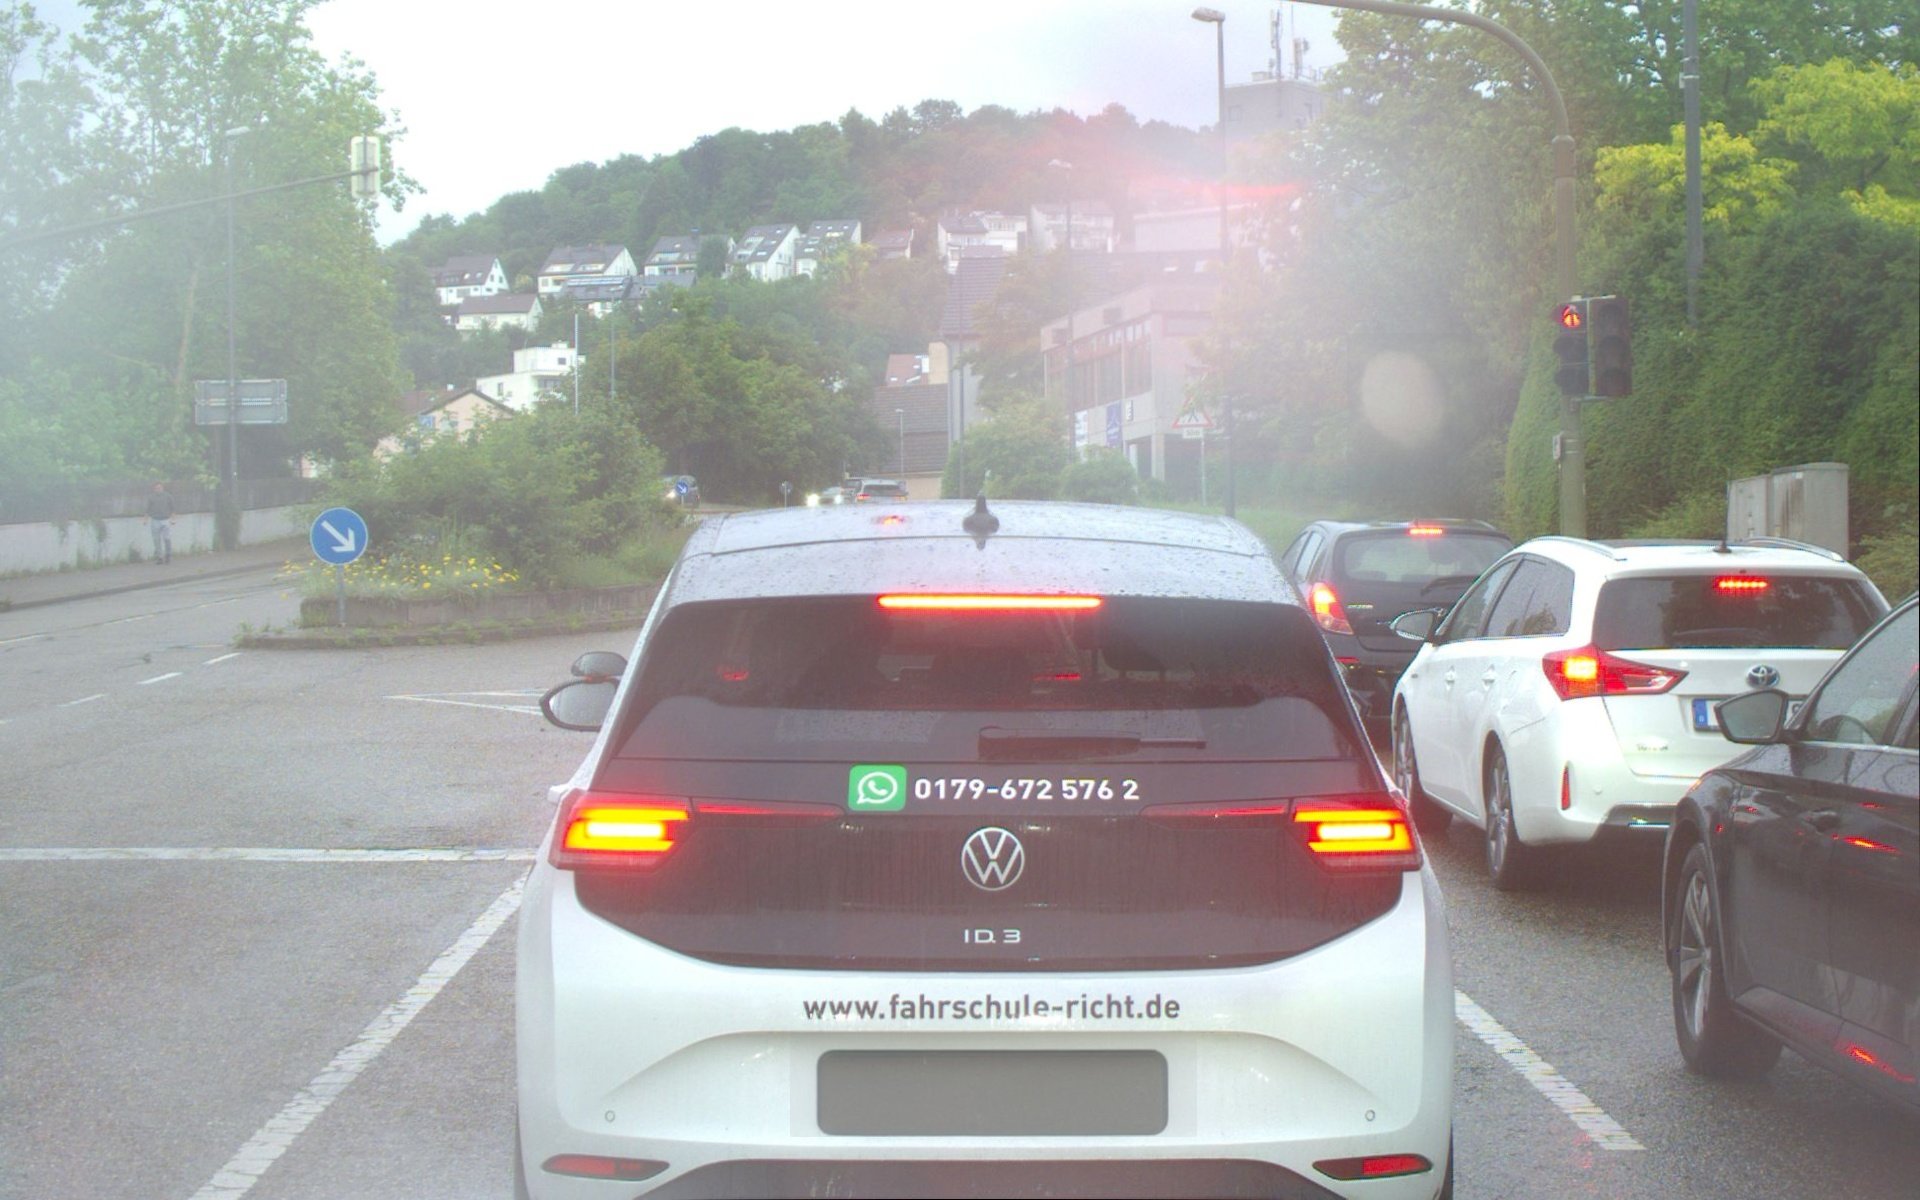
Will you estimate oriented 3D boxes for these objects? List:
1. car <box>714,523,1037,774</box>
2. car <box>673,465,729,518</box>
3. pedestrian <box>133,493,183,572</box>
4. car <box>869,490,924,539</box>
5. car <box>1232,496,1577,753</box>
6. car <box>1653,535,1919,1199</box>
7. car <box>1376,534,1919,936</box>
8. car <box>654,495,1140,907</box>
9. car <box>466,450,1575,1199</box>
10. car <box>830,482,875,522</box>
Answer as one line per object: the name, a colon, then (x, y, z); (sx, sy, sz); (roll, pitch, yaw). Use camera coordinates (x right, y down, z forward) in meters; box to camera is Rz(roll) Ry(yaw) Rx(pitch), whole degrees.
car: (-0.526, 0.238, 21.765); (1.837, 1.395, 3.831); (1, 1, -1)
car: (-10.583, -4.420, 140.519); (1.993, 2.007, 4.000); (1, 0, 0)
pedestrian: (-16.457, -1.384, 70.568); (0.760, 1.562, 0.825); (-3, 1, -1)
car: (-2.138, -2.901, 117.061); (1.775, 1.576, 4.000); (-2, 1, 0)
car: (2.940, 0.122, 23.511); (1.775, 1.576, 4.000); (1, 1, 0)
car: (2.885, 0.622, 7.627); (1.838, 1.461, 4.350); (1, 1, 1)
car: (3.051, 0.478, 15.090); (1.837, 1.461, 4.117); (1, 1, -1)
car: (-0.287, 0.334, 15.314); (1.837, 1.549, 4.175); (1, 1, -1)
car: (0.050, 0.519, 8.088); (1.837, 1.623, 4.616); (1, 1, -1)
car: (-4.590, -4.183, 147.143); (1.775, 1.576, 4.000); (-2, 1, 0)
